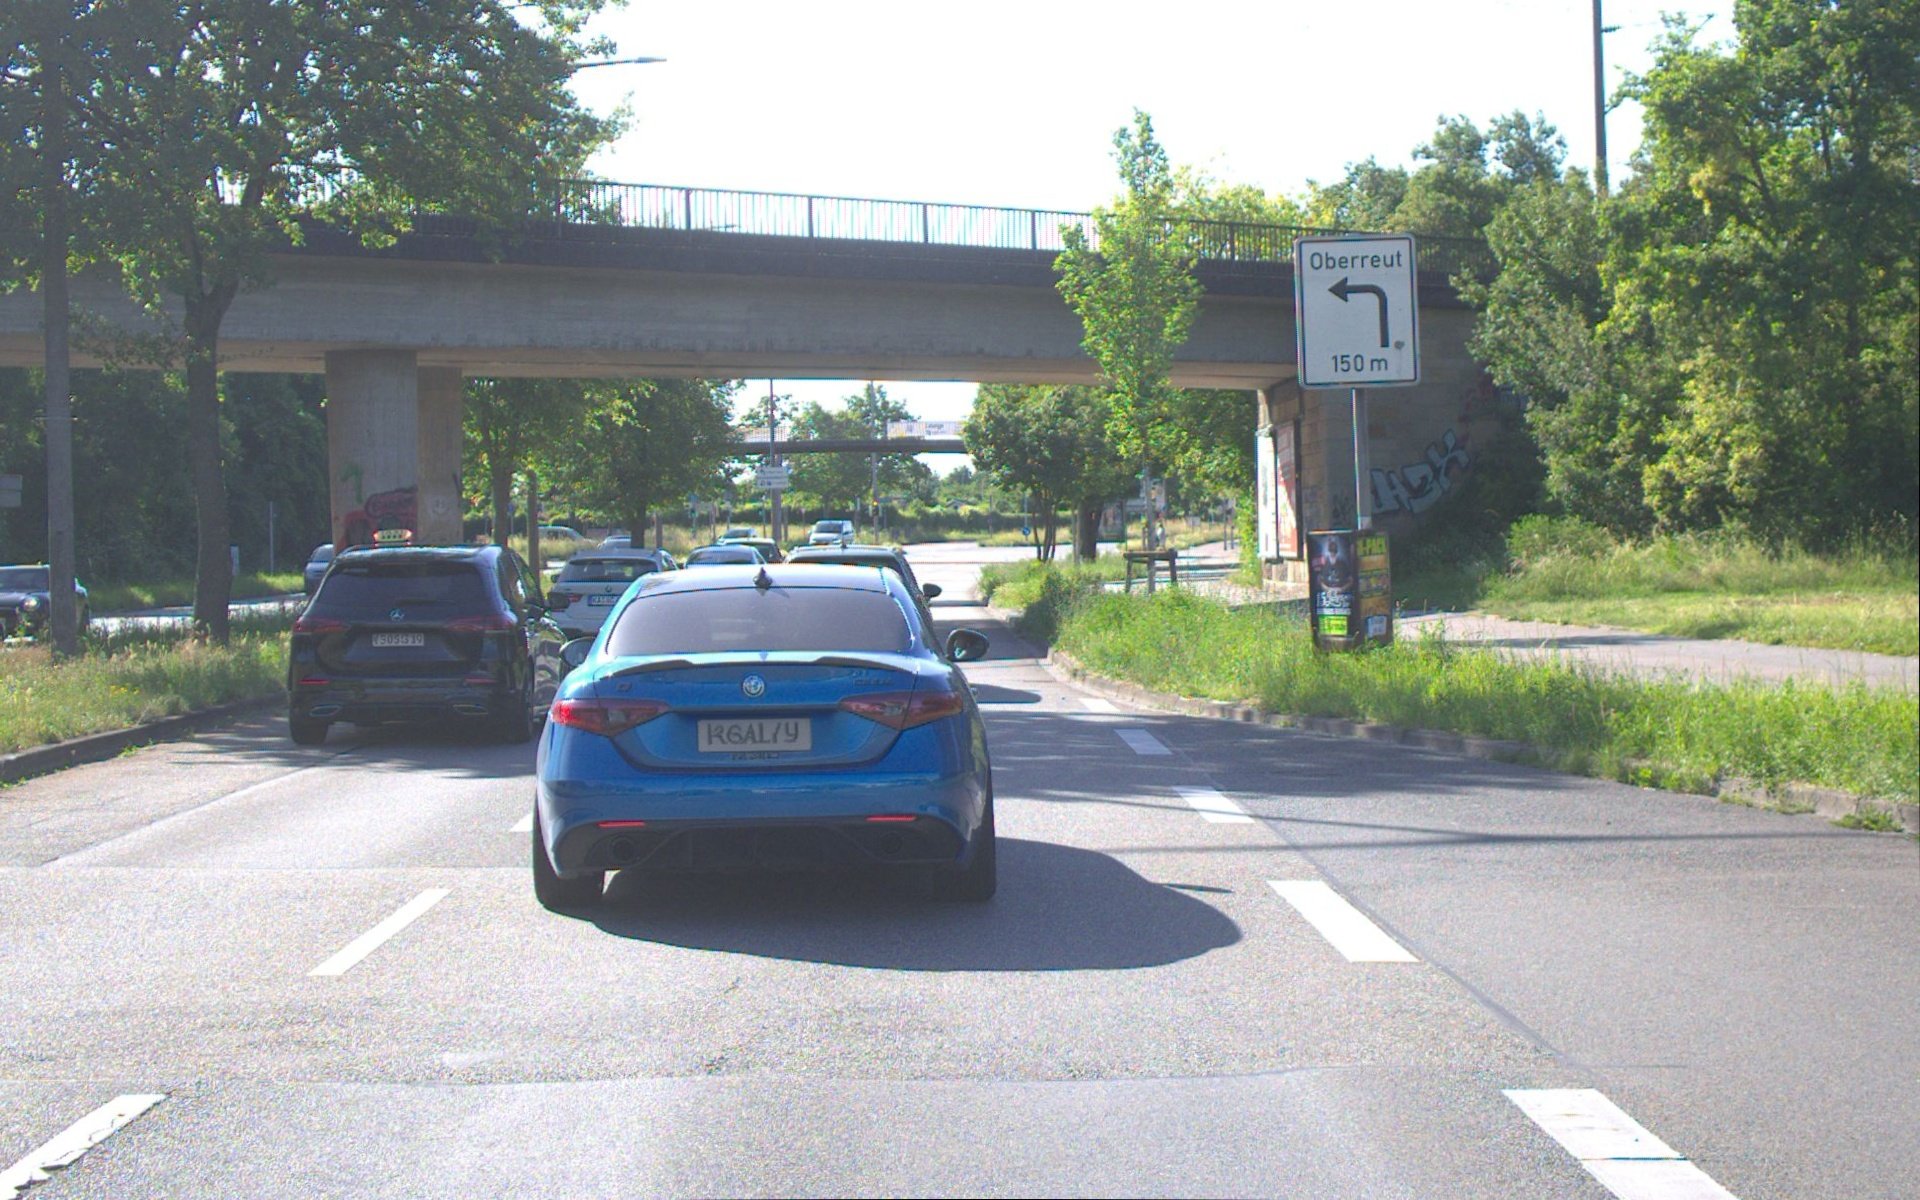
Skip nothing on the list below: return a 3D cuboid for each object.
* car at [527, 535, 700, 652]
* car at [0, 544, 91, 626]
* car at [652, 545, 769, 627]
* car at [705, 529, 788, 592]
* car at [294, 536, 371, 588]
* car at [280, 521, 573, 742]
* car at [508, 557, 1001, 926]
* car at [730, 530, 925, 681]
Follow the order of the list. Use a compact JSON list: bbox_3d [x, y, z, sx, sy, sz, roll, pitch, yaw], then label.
[{"bbox_3d":[-4.534,-0.112,45.513,1.883,1.449,4.526,0,1,-1],"label":"car"},{"bbox_3d":[-17.287,-0.279,62.813,1.816,1.437,4.090,-1,1,-1],"label":"car"},{"bbox_3d":[-4.567,-0.275,63.469,1.883,1.449,4.526,0,1,-1],"label":"car"},{"bbox_3d":[-5.088,-0.958,82.481,1.779,1.449,4.182,-1,1,-1],"label":"car"},{"bbox_3d":[-20.433,-1.248,112.027,1.729,1.611,4.180,-2,1,0],"label":"car"},{"bbox_3d":[-4.116,0.201,27.107,1.708,1.592,4.224,0,1,-1],"label":"car"},{"bbox_3d":[-0.817,0.517,15.302,1.883,1.401,4.224,0,1,-1],"label":"car"},{"bbox_3d":[-1.317,0.025,35.622,1.883,1.449,4.526,0,1,-1],"label":"car"}]
